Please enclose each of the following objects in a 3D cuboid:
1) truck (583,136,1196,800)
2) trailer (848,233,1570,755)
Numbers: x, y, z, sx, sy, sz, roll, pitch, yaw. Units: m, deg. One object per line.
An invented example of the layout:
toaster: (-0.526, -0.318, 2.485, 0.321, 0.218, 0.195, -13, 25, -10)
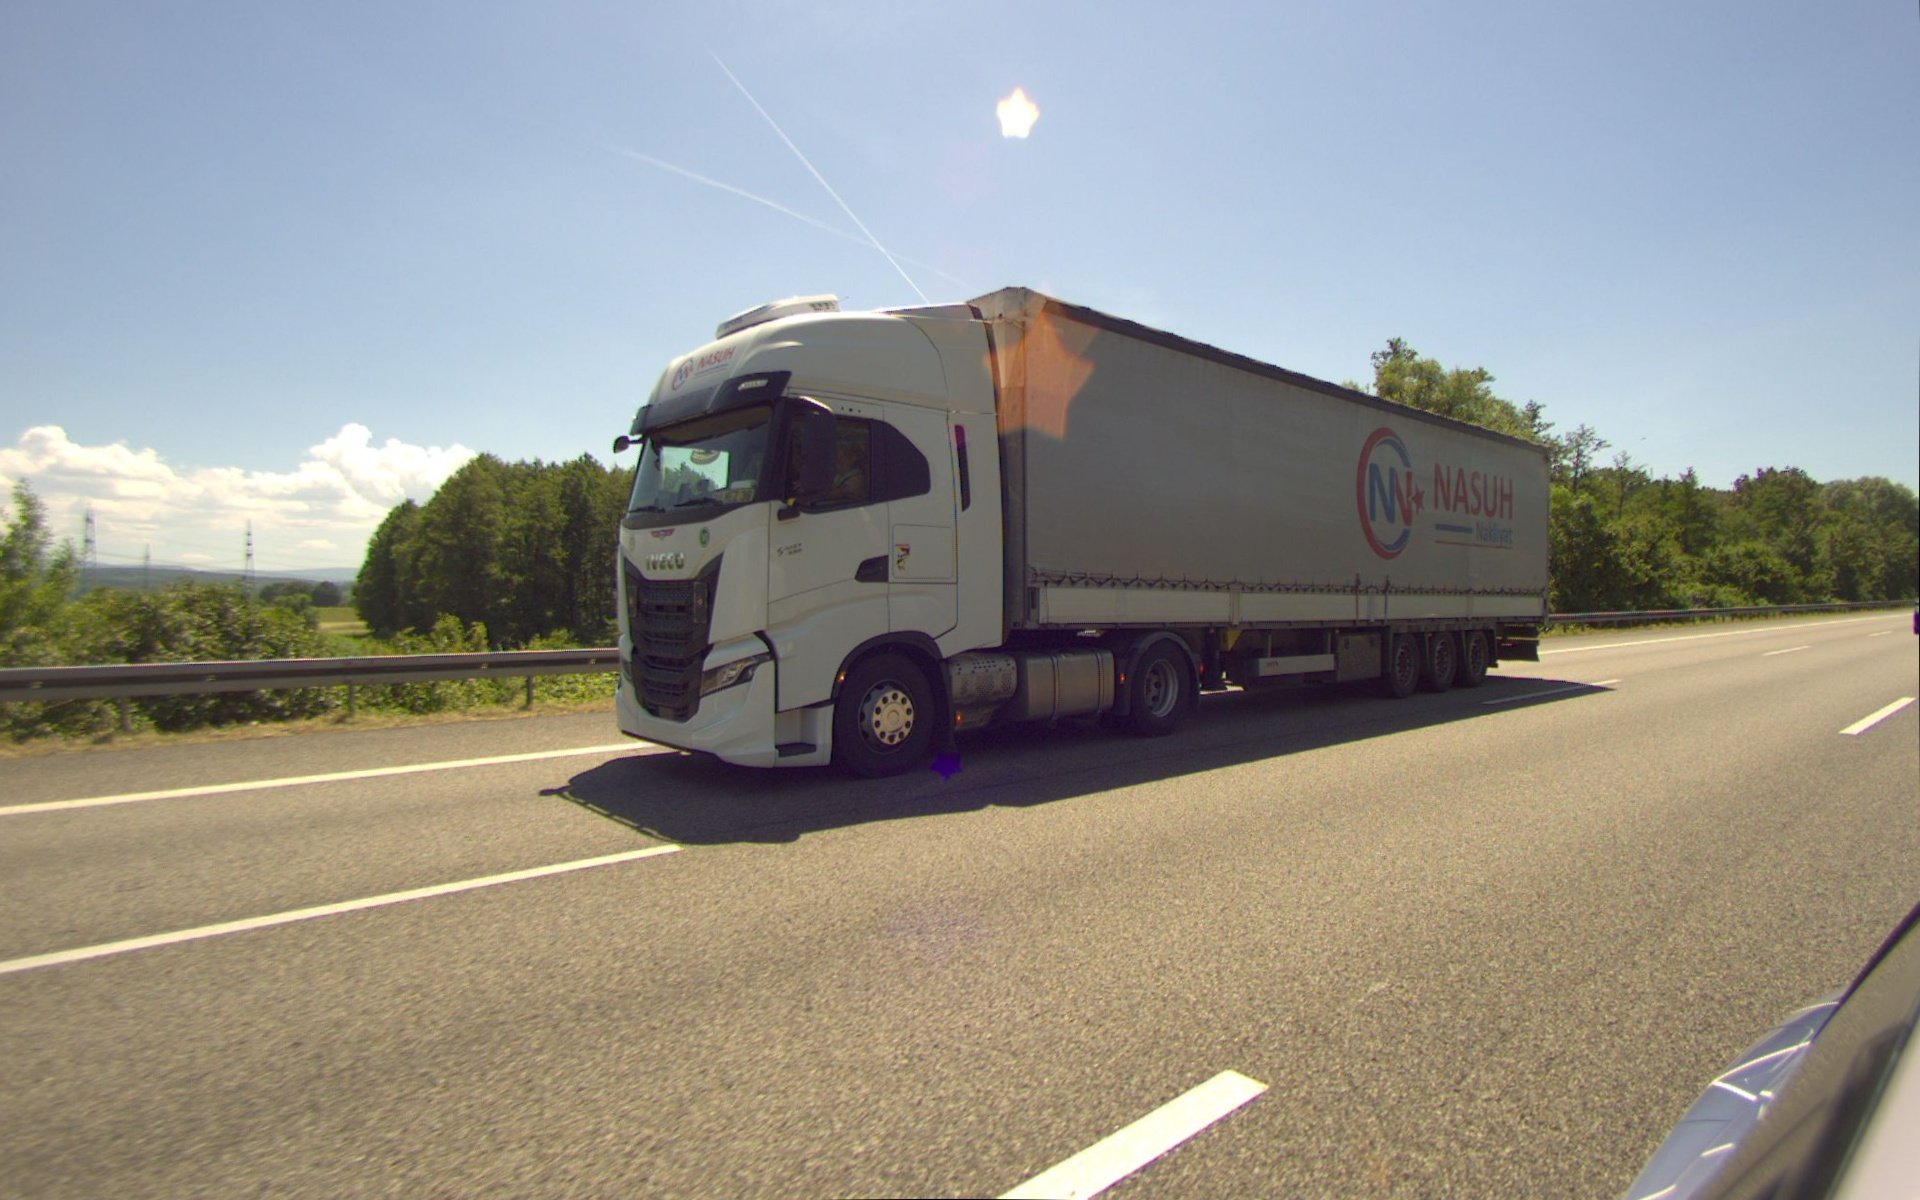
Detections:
truck: (-0.414, -0.933, 9.688, 5.476, 4.528, 2.539, 0, 0, -42)
trailer: (4.839, -0.989, 14.373, 13.916, 4.528, 2.539, -1, 0, -42)
